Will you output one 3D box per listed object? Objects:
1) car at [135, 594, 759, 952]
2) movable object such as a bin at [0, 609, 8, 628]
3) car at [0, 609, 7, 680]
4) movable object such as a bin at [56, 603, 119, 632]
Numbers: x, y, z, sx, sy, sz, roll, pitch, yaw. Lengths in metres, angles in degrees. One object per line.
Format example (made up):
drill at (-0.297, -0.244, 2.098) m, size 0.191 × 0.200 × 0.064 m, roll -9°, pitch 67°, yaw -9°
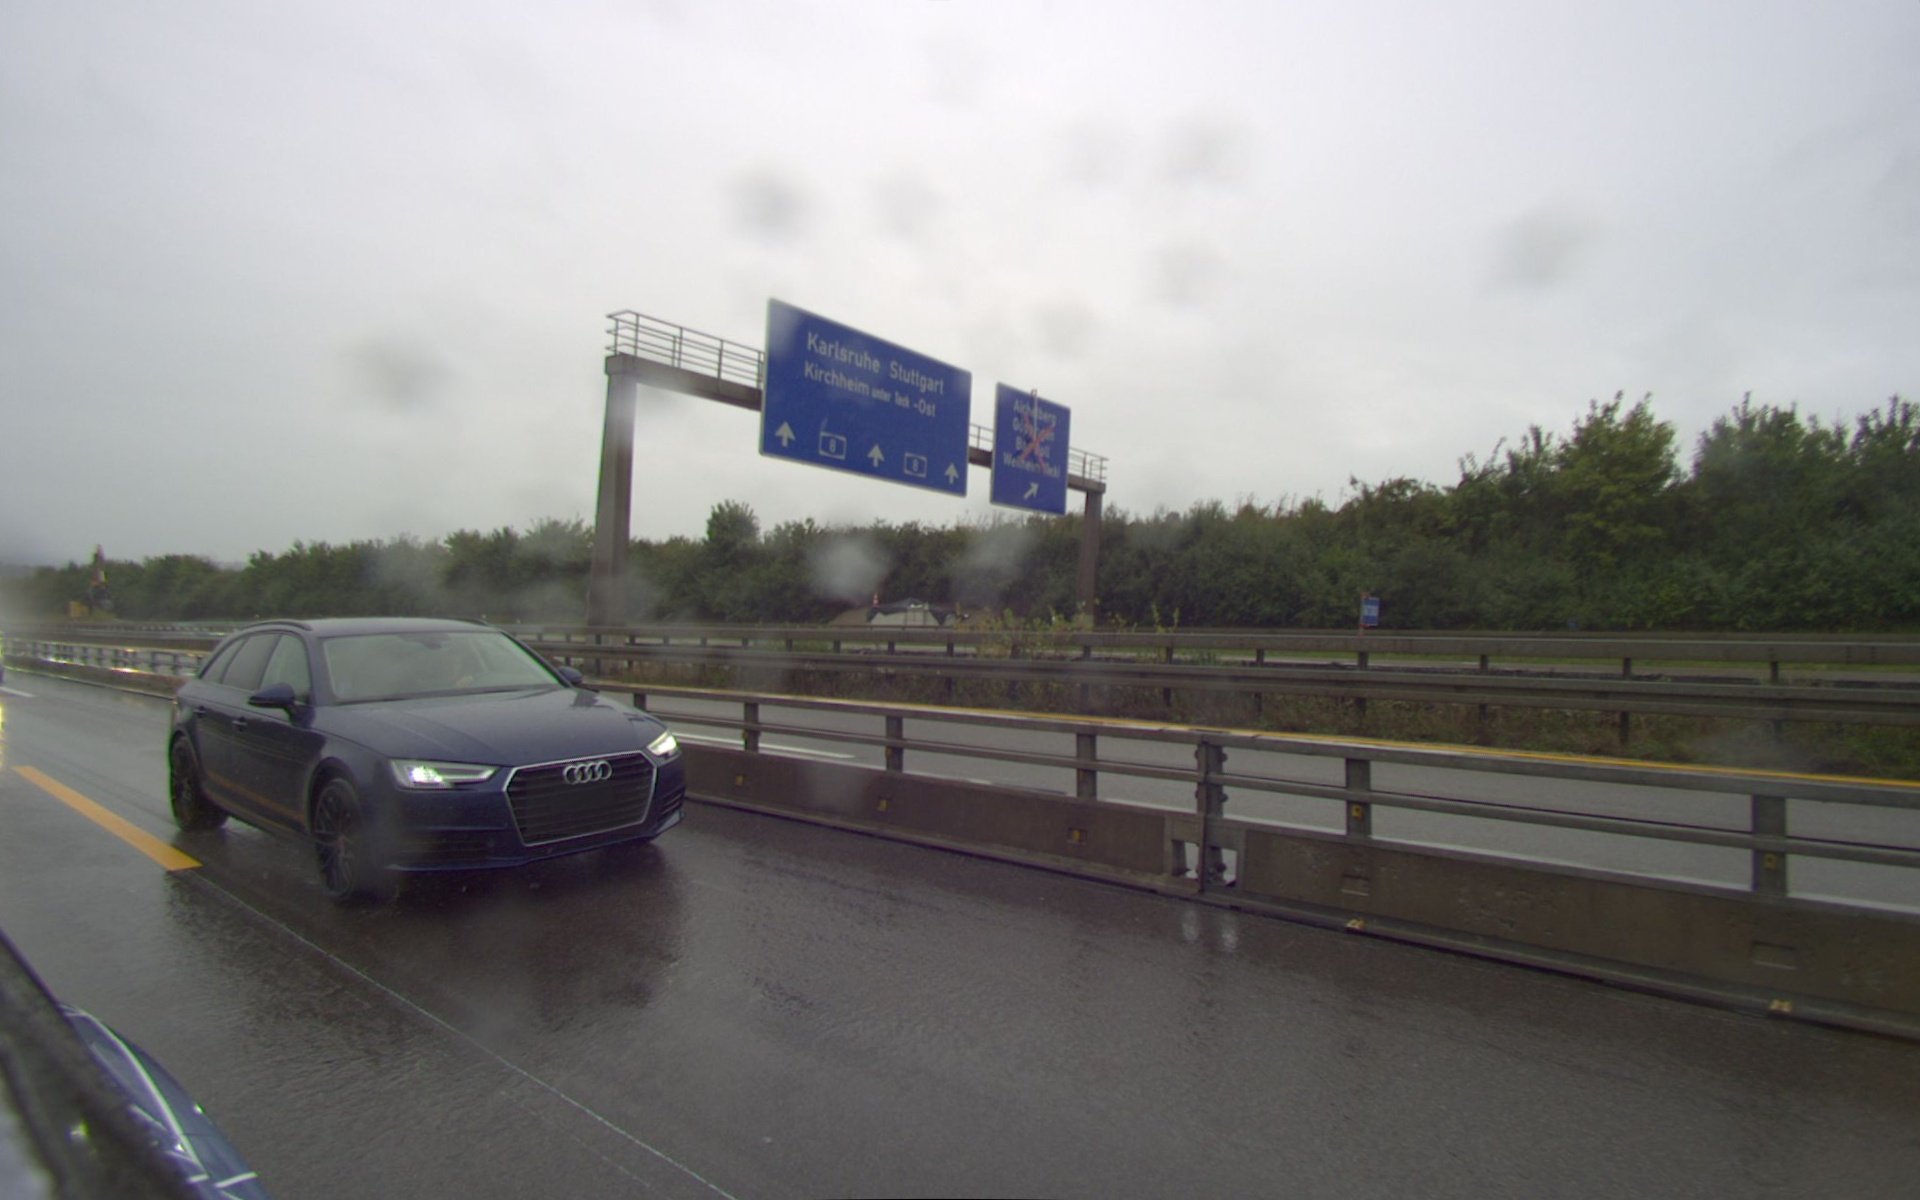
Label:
car at (-3.550, 0.752, 6.555) m, size 4.627 × 1.509 × 1.973 m, roll -1°, pitch 0°, yaw 40°
movable object such as a bin at (-122.341, 2.322, 126.601) m, size 5.083 × 2.312 × 3.413 m, roll -1°, pitch 0°, yaw 31°
car at (-23.931, 1.067, 23.659) m, size 4.306 × 1.608 × 1.953 m, roll -3°, pitch -2°, yaw 41°
movable object such as a bin at (-88.587, 1.734, 102.763) m, size 6.321 × 2.819 × 3.729 m, roll -1°, pitch 0°, yaw 38°
